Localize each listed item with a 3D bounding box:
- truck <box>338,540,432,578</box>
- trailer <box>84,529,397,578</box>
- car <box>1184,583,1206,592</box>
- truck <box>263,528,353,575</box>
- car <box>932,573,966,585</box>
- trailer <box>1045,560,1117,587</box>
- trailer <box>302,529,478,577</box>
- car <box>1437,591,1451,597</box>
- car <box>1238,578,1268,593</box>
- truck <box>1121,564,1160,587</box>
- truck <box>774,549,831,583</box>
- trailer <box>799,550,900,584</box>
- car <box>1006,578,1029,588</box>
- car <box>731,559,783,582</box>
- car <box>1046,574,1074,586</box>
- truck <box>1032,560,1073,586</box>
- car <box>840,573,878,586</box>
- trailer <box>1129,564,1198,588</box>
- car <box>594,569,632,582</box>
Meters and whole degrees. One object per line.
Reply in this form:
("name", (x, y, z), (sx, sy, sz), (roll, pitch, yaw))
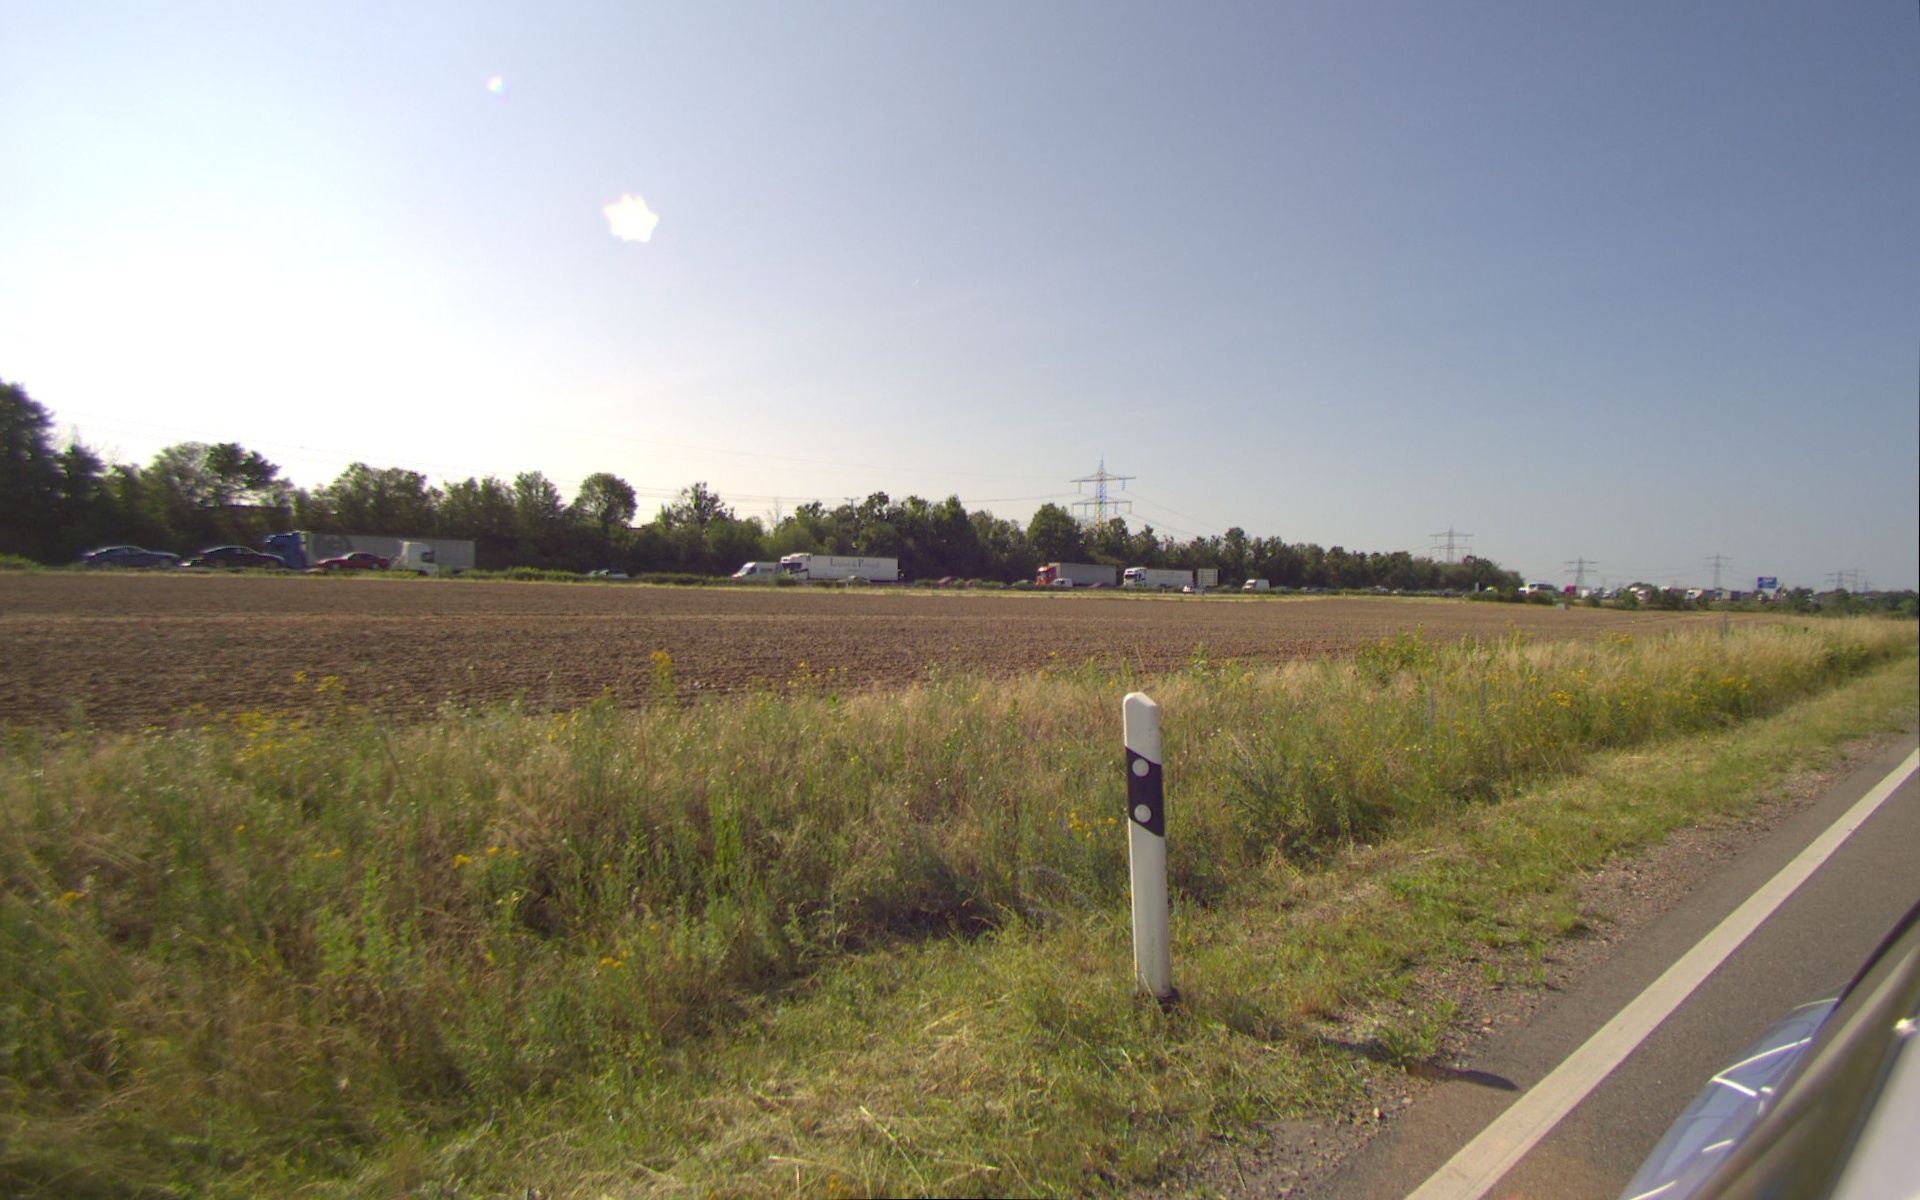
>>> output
("truck", (-41.389, -2.937, 72.898), (5.444, 2.562, 2.515), (0, 2, -44))
("trailer", (-47.096, -2.975, 67.333), (16.802, 2.562, 2.515), (0, 2, -44))
("car", (34.991, -1.910, 150.697), (3.558, 1.250, 1.547), (1, -2, -43))
("truck", (-55.451, -4.058, 86.096), (5.982, 3.780, 3.076), (0, 1, -42))
("car", (-1.433, -2.680, 128.619), (4.176, 1.403, 1.852), (1, 0, -43))
("trailer", (18.724, -4.029, 155.268), (13.549, 3.780, 2.949), (0, 1, -43))
("trailer", (-50.649, -4.057, 90.456), (13.395, 3.780, 3.076), (0, 1, -42))
("car", (101.086, -1.252, 211.311), (3.558, 1.250, 1.547), (1, -2, -43))
("car", (51.817, -2.572, 179.090), (6.303, 2.478, 2.040), (0, 1, -42))
("truck", (29.349, -3.958, 164.684), (6.006, 3.574, 3.207), (0, 2, -43))
("truck", (-18.677, -4.000, 120.309), (6.012, 3.780, 3.077), (0, 1, -42))
("trailer", (-13.480, -3.991, 125.018), (13.136, 3.780, 3.076), (0, 1, -42))
("car", (7.787, -2.305, 137.571), (1.341, 1.300, 3.238), (0, 0, 45))
("car", (-21.691, -3.108, 108.332), (5.149, 2.228, 1.907), (1, 0, -43))
("car", (14.116, -2.763, 142.529), (4.026, 1.659, 1.704), (0, 0, -44))
("truck", (13.858, -4.044, 150.713), (5.770, 3.780, 2.949), (0, 1, -43))
("car", (-11.810, -2.438, 118.977), (4.176, 1.403, 1.852), (1, 0, -43))
("trailer", (34.199, -3.943, 169.323), (14.830, 3.574, 3.206), (0, 2, -44))
("car", (-33.203, -2.371, 96.864), (3.128, 1.166, 1.396), (1, 0, -43))
